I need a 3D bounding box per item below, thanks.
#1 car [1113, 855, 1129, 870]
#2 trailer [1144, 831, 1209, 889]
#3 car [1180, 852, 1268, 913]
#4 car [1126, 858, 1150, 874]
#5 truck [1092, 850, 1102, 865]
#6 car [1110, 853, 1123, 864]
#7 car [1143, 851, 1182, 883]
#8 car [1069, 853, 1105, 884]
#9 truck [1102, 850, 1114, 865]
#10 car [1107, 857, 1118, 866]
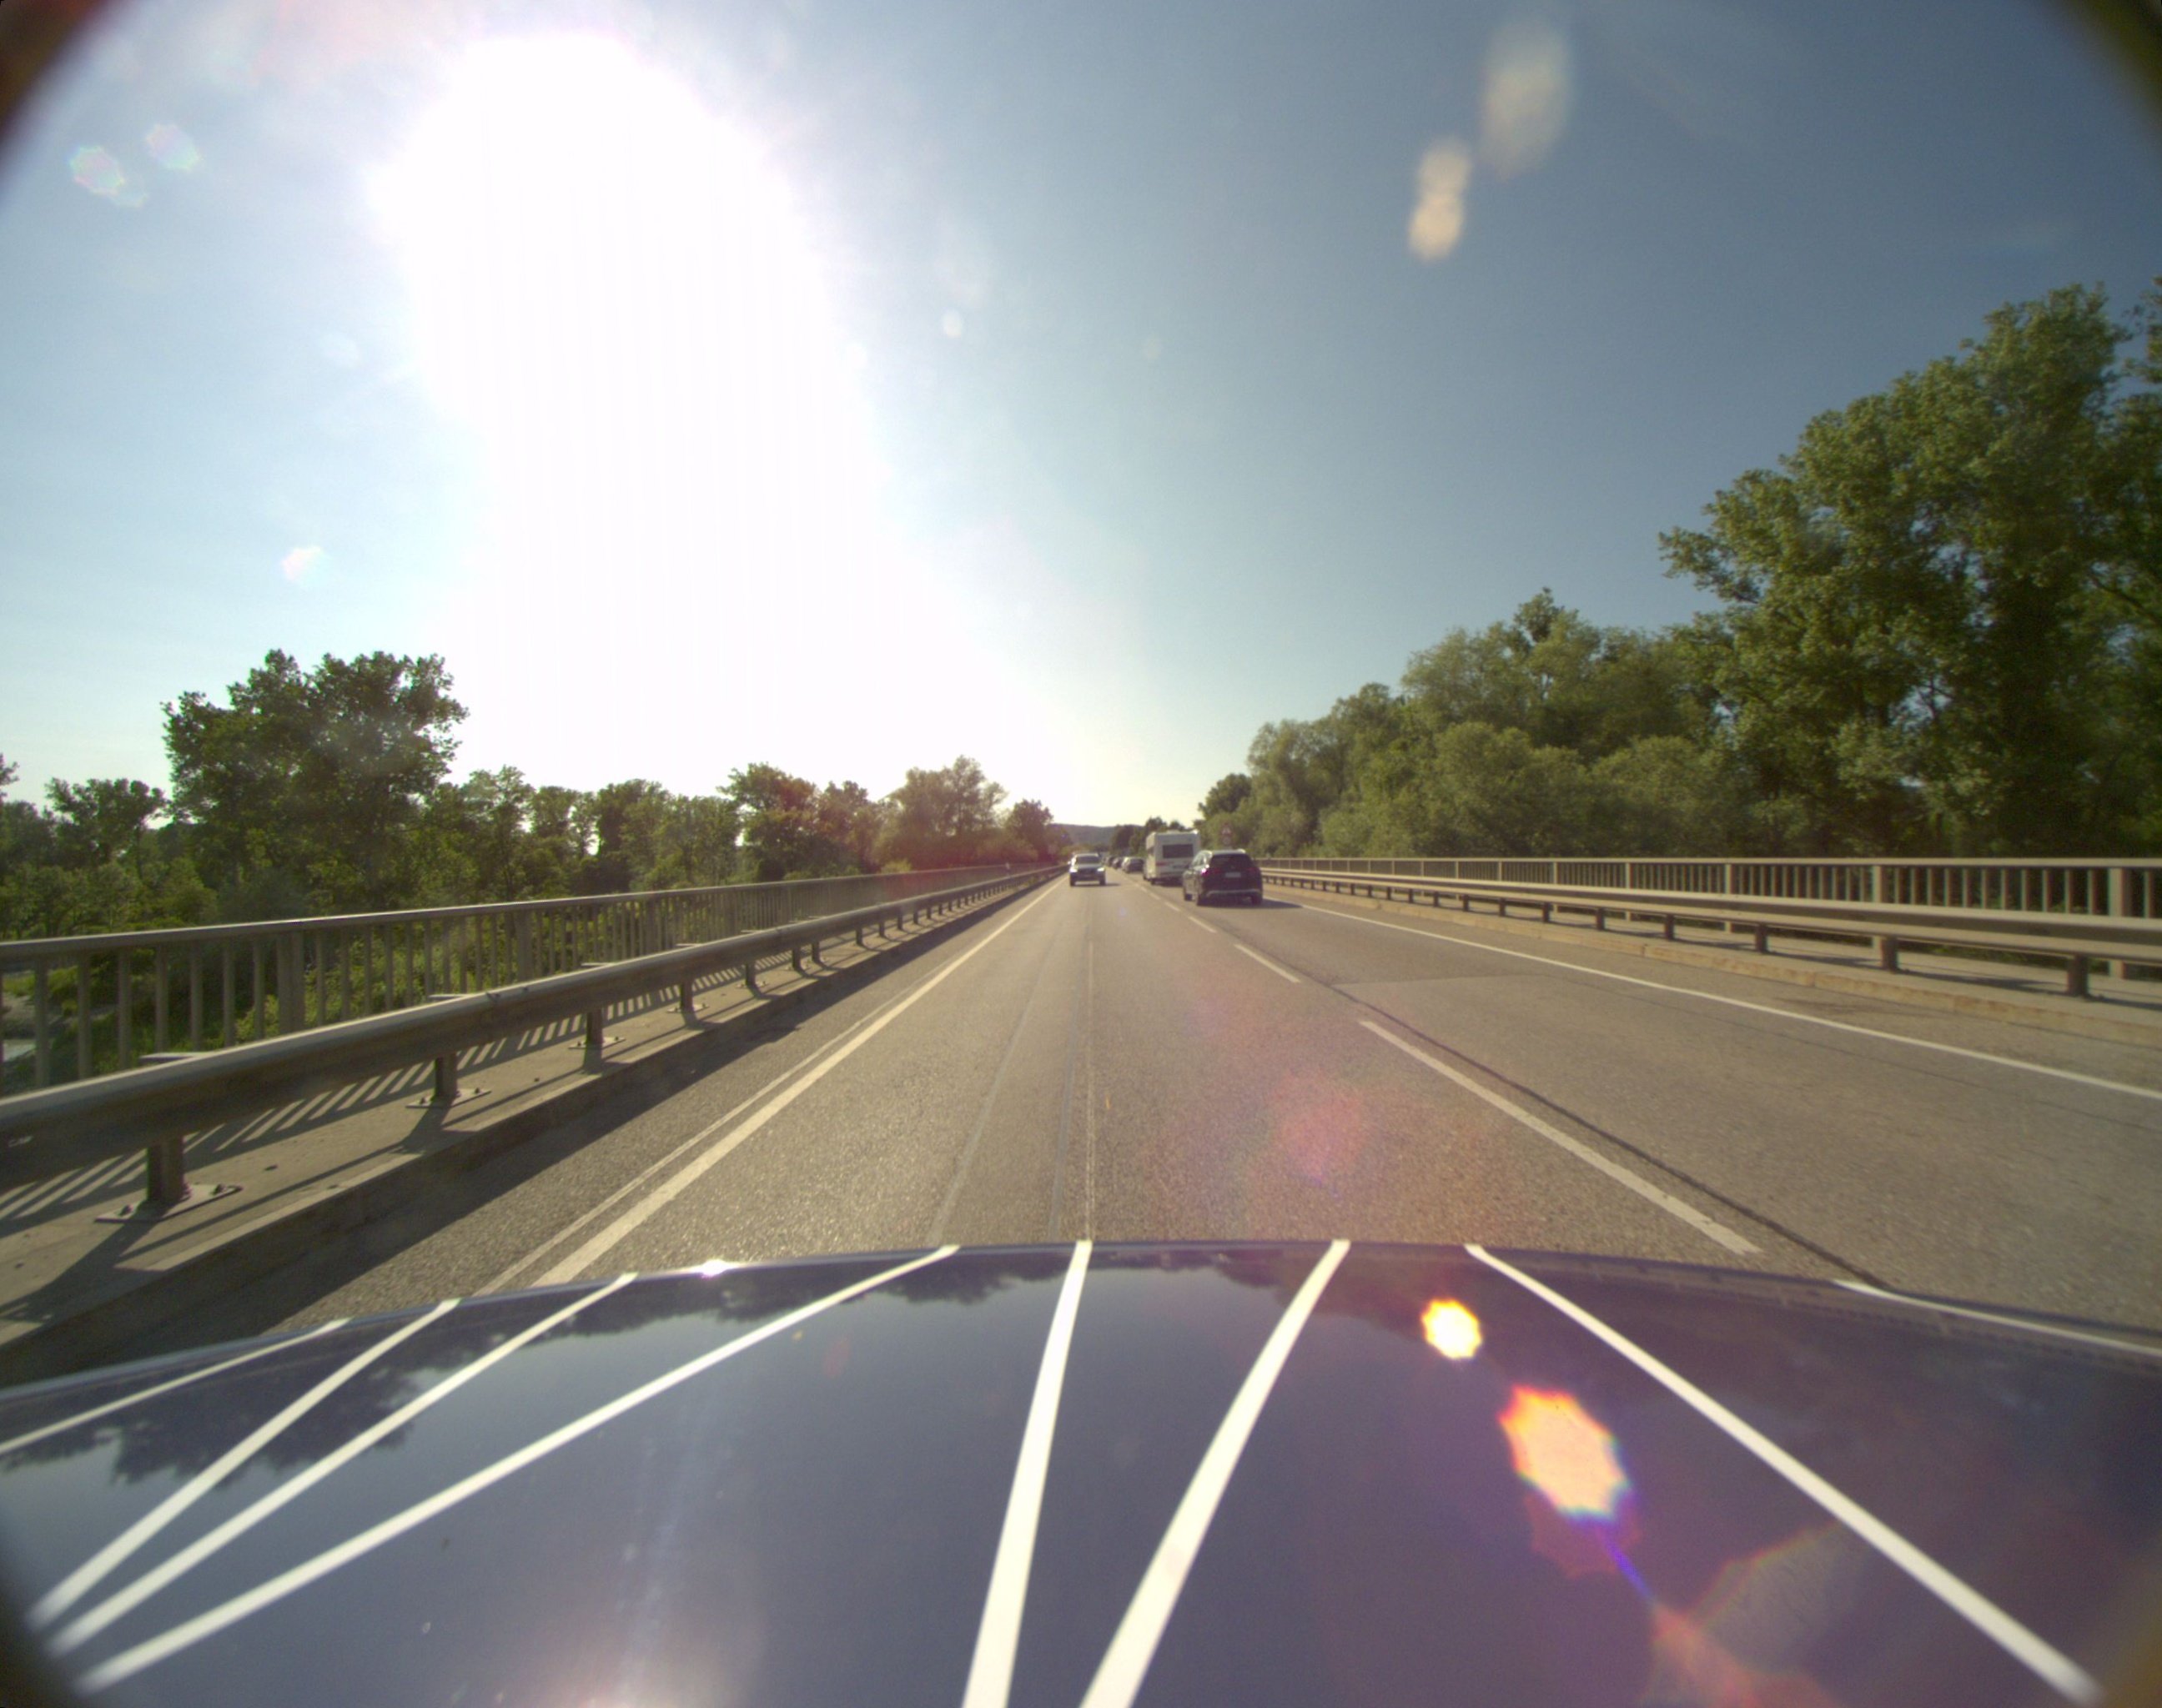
[{"bbox_3d":[5.059,1.016,96.650,1.972,1.796,4.531,-2,0,1],"label":"car"},{"bbox_3d":[4.882,0.289,40.264,2.561,2.721,8.063,-2,0,2],"label":"trailer"},{"bbox_3d":[4.270,0.797,23.356,1.807,1.651,4.433,-2,0,0],"label":"car"},{"bbox_3d":[5.121,1.052,68.738,1.791,1.412,4.651,-1,0,-1],"label":"car"},{"bbox_3d":[4.529,0.972,219.385,2.744,4.303,8.130,-2,0,1],"label":"truck"},{"bbox_3d":[5.791,0.739,125.082,1.972,1.796,4.531,-4,0,1],"label":"car"},{"bbox_3d":[4.950,0.764,46.785,1.988,1.843,5.008,-2,0,2],"label":"car"},{"bbox_3d":[0.400,0.758,42.553,1.871,1.598,4.380,-2,0,2],"label":"car"},{"bbox_3d":[6.488,0.844,181.347,2.620,3.235,6.967,-2,0,1],"label":"truck"},{"bbox_3d":[5.947,1.371,143.124,1.825,1.537,4.061,-3,0,0],"label":"car"}]
